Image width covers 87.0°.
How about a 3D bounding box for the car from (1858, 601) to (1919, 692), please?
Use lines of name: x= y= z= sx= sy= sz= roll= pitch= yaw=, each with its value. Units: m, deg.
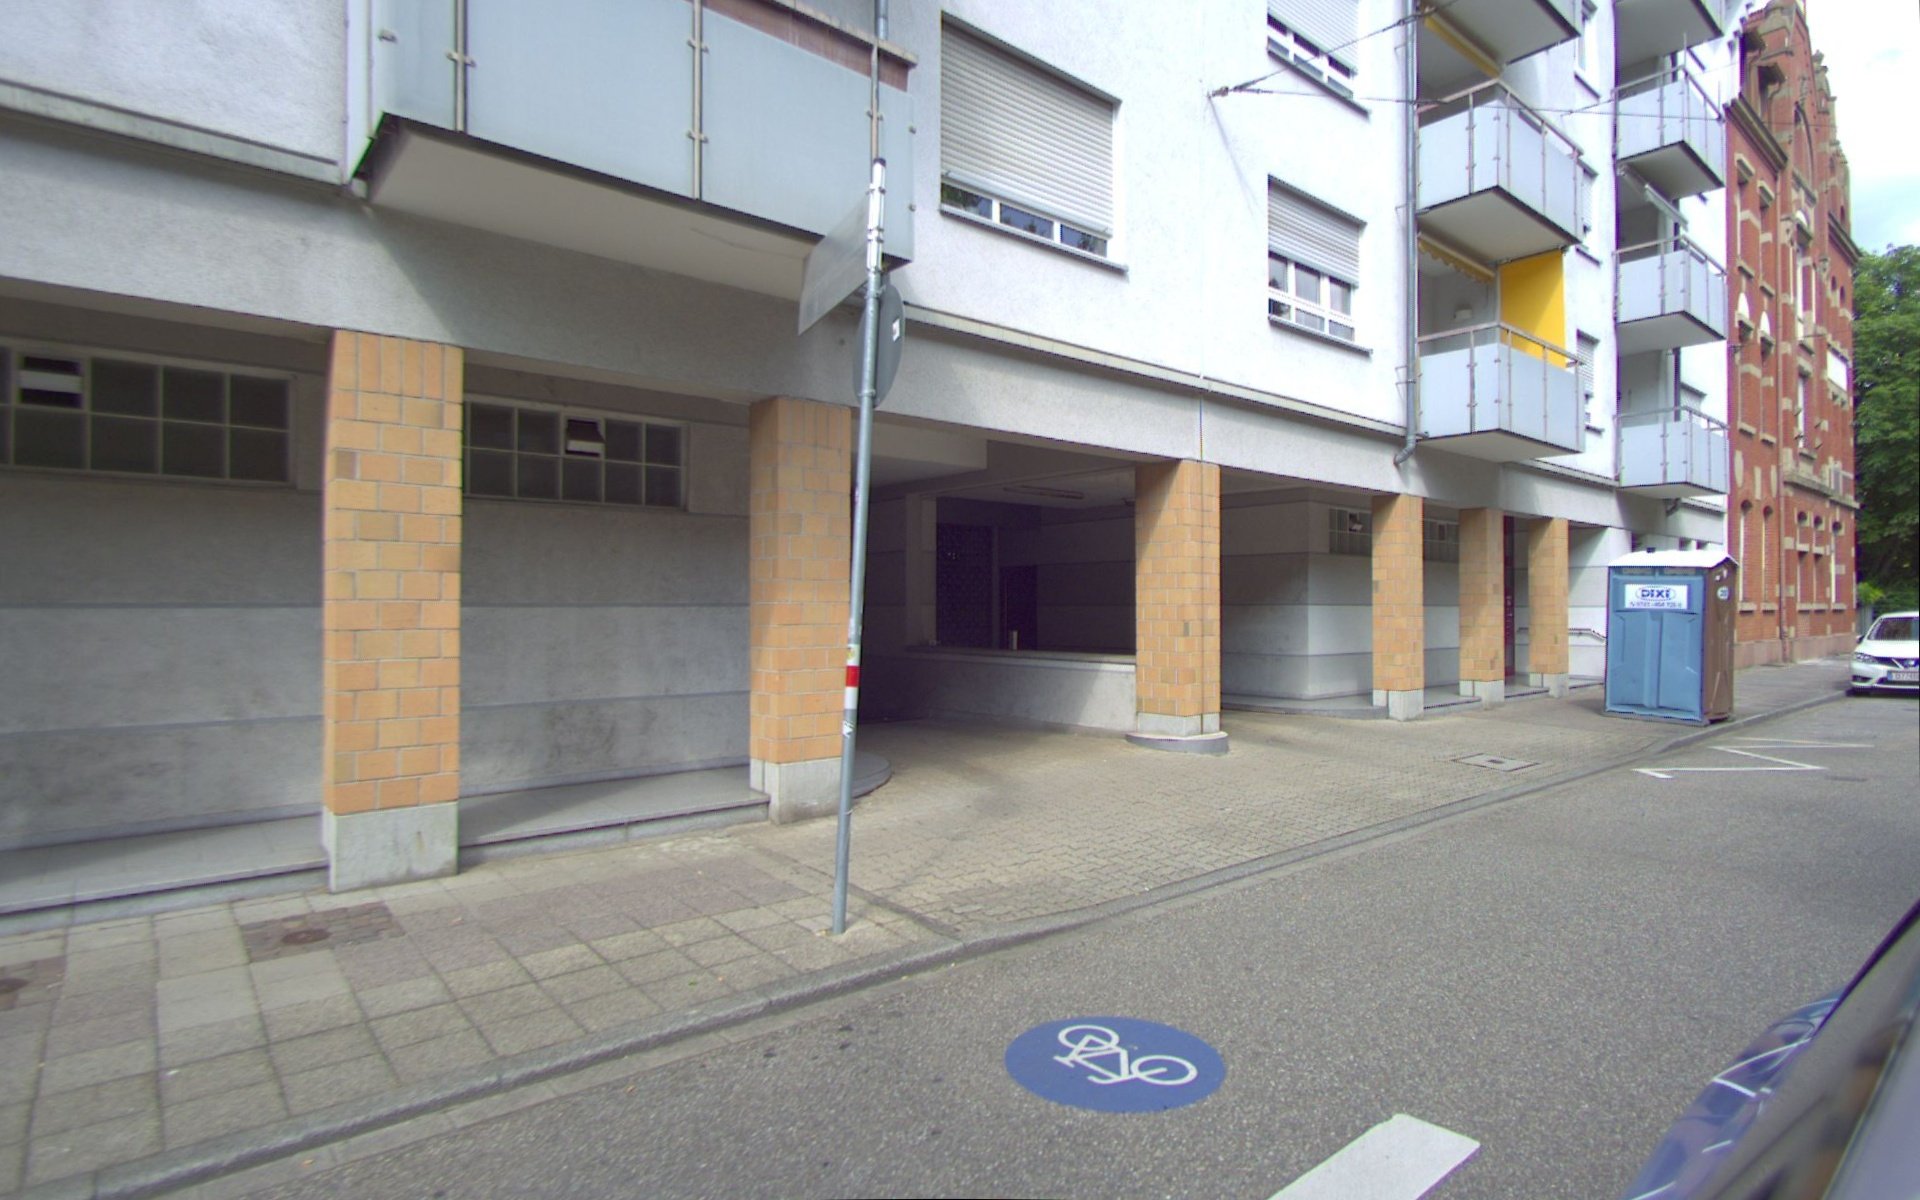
car: x=17.862 y=0.793 z=18.348 sx=3.969 sy=1.550 sz=1.800 roll=0 pitch=-1 yaw=-40
